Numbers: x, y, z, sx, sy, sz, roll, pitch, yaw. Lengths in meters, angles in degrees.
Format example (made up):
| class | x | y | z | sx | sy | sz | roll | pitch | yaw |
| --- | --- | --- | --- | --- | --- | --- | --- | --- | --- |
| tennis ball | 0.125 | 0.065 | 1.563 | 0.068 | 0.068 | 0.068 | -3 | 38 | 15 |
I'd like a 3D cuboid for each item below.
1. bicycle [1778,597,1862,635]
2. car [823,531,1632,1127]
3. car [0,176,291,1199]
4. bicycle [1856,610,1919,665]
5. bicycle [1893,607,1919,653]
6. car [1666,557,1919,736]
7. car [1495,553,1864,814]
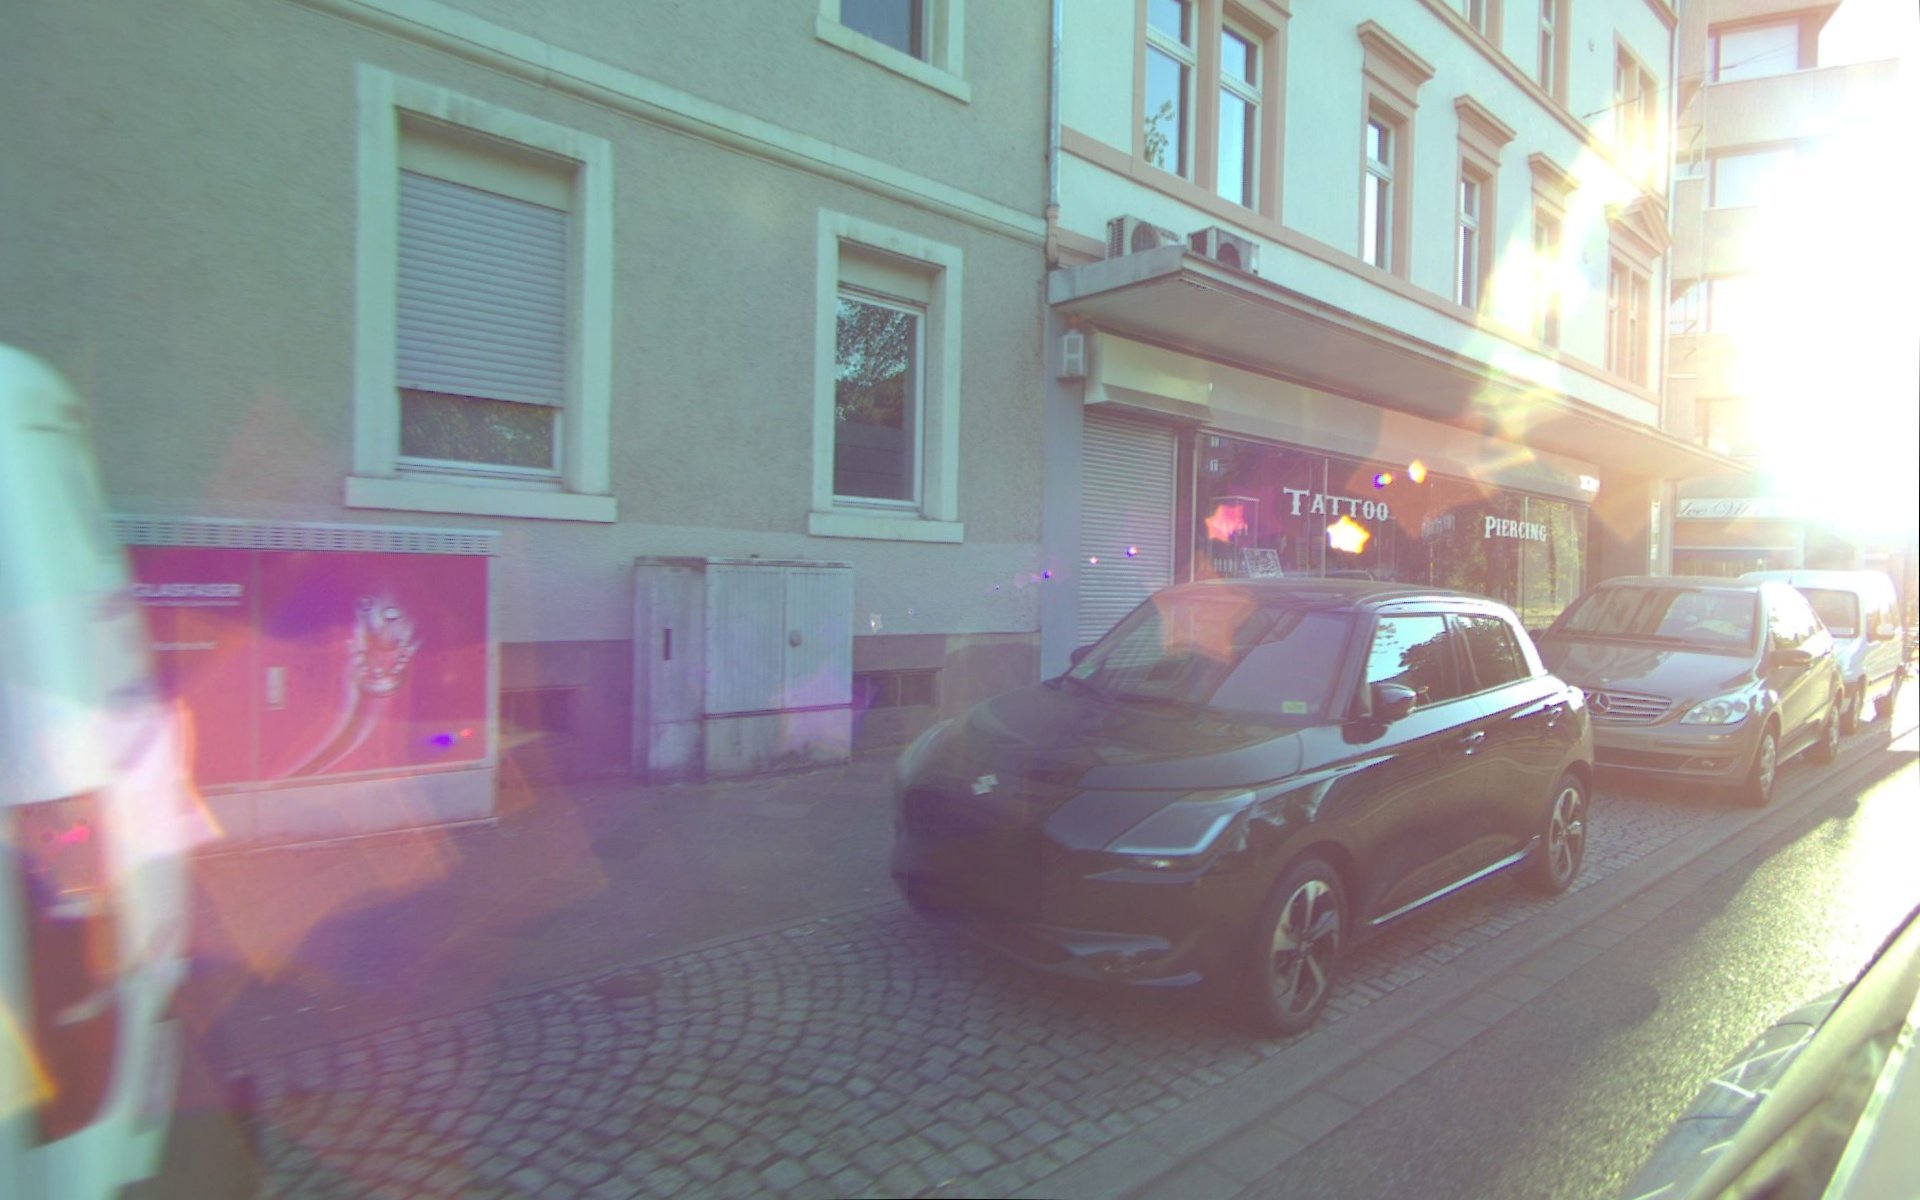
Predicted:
| class | x | y | z | sx | sy | sz | roll | pitch | yaw |
| --- | --- | --- | --- | --- | --- | --- | --- | --- | --- |
| bicycle | 25.687 | 0.478 | 30.257 | 1.862 | 1.017 | 0.457 | 3 | 2 | 12 |
| car | 1.452 | 0.607 | 4.550 | 3.814 | 1.564 | 1.670 | 1 | 0 | -41 |
| car | -3.049 | 0.430 | 0.635 | 4.229 | 1.858 | 1.713 | 1 | 0 | -40 |
| bicycle | 18.820 | 0.767 | 19.839 | 0.530 | 1.002 | 1.798 | 3 | 2 | -17 |
| bicycle | 21.903 | 0.728 | 22.348 | 0.531 | 1.002 | 1.797 | 3 | 2 | -27 |
| car | 10.254 | 0.445 | 12.278 | 4.019 | 1.814 | 1.796 | 0 | 1 | -40 |
| car | 6.182 | 0.540 | 8.514 | 4.036 | 1.686 | 1.659 | 0 | 0 | -41 |
